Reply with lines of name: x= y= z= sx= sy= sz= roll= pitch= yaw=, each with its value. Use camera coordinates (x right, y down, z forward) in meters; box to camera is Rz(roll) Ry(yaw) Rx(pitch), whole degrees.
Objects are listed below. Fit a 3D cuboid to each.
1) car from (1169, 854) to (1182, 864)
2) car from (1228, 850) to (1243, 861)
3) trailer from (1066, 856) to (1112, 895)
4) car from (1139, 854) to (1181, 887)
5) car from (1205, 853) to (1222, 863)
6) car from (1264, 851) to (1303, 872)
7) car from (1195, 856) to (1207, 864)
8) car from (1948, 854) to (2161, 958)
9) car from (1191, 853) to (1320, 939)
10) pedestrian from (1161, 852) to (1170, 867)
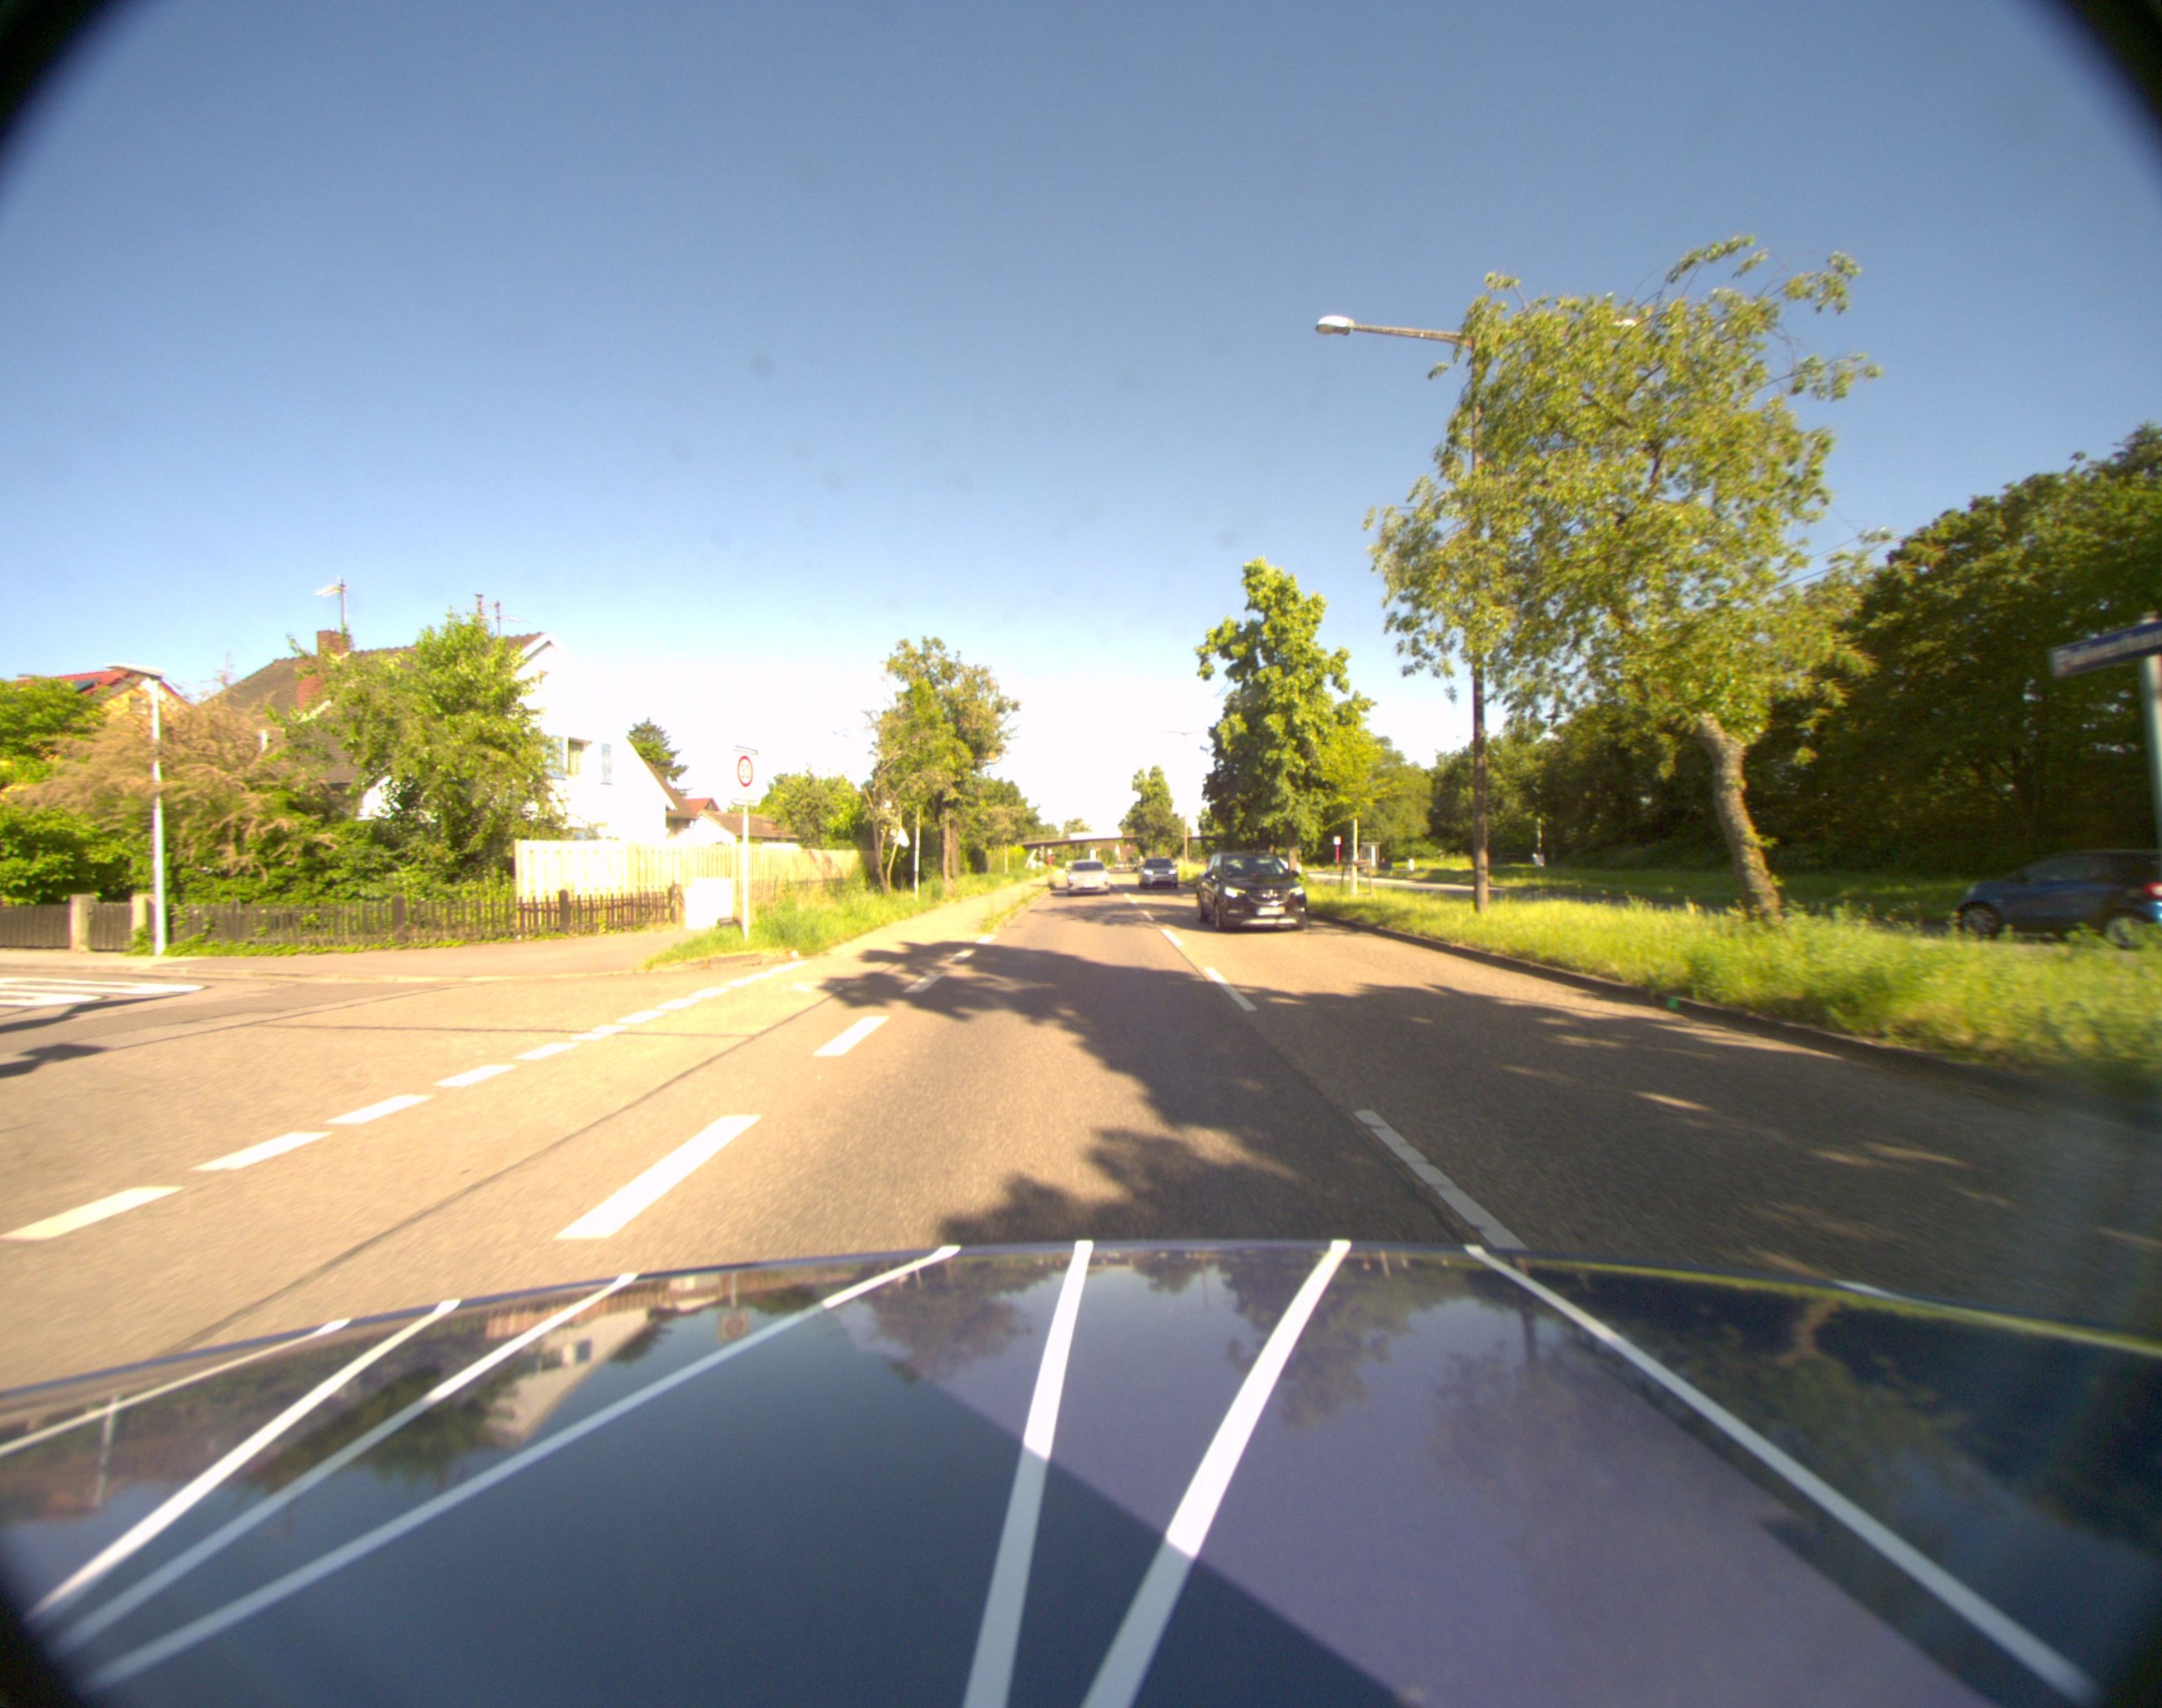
car: x=14.425 y=0.737 z=116.196 sx=1.717 sy=1.463 sz=4.064 roll=0 pitch=0 yaw=2
car: x=20.534 y=0.173 z=101.032 sx=1.585 sy=1.406 sz=3.133 roll=-1 pitch=0 yaw=5
trailer: x=0.438 y=0.952 z=34.970 sx=1.897 sy=1.585 sz=4.001 roll=-3 pitch=-1 yaw=2
car: x=4.048 y=0.855 z=39.662 sx=1.823 sy=1.553 sz=4.647 roll=-2 pitch=-1 yaw=2
car: x=17.830 y=0.569 z=102.308 sx=1.712 sy=1.248 sz=4.001 roll=-1 pitch=0 yaw=4
car: x=16.752 y=0.619 z=63.103 sx=1.844 sy=1.580 sz=4.585 roll=4 pitch=0 yaw=-1
car: x=19.628 y=1.003 z=124.620 sx=1.712 sy=1.248 sz=4.002 roll=-1 pitch=0 yaw=7
car: x=16.499 y=0.775 z=12.173 sx=1.719 sy=1.496 sz=3.016 roll=1 pitch=0 yaw=0
car: x=3.640 y=0.796 z=16.672 sx=1.811 sy=1.605 sz=4.514 roll=-1 pitch=0 yaw=1
pedestrian: x=9.707 y=0.616 z=87.571 sx=0.631 sy=1.686 sz=0.945 roll=-1 pitch=0 yaw=31
